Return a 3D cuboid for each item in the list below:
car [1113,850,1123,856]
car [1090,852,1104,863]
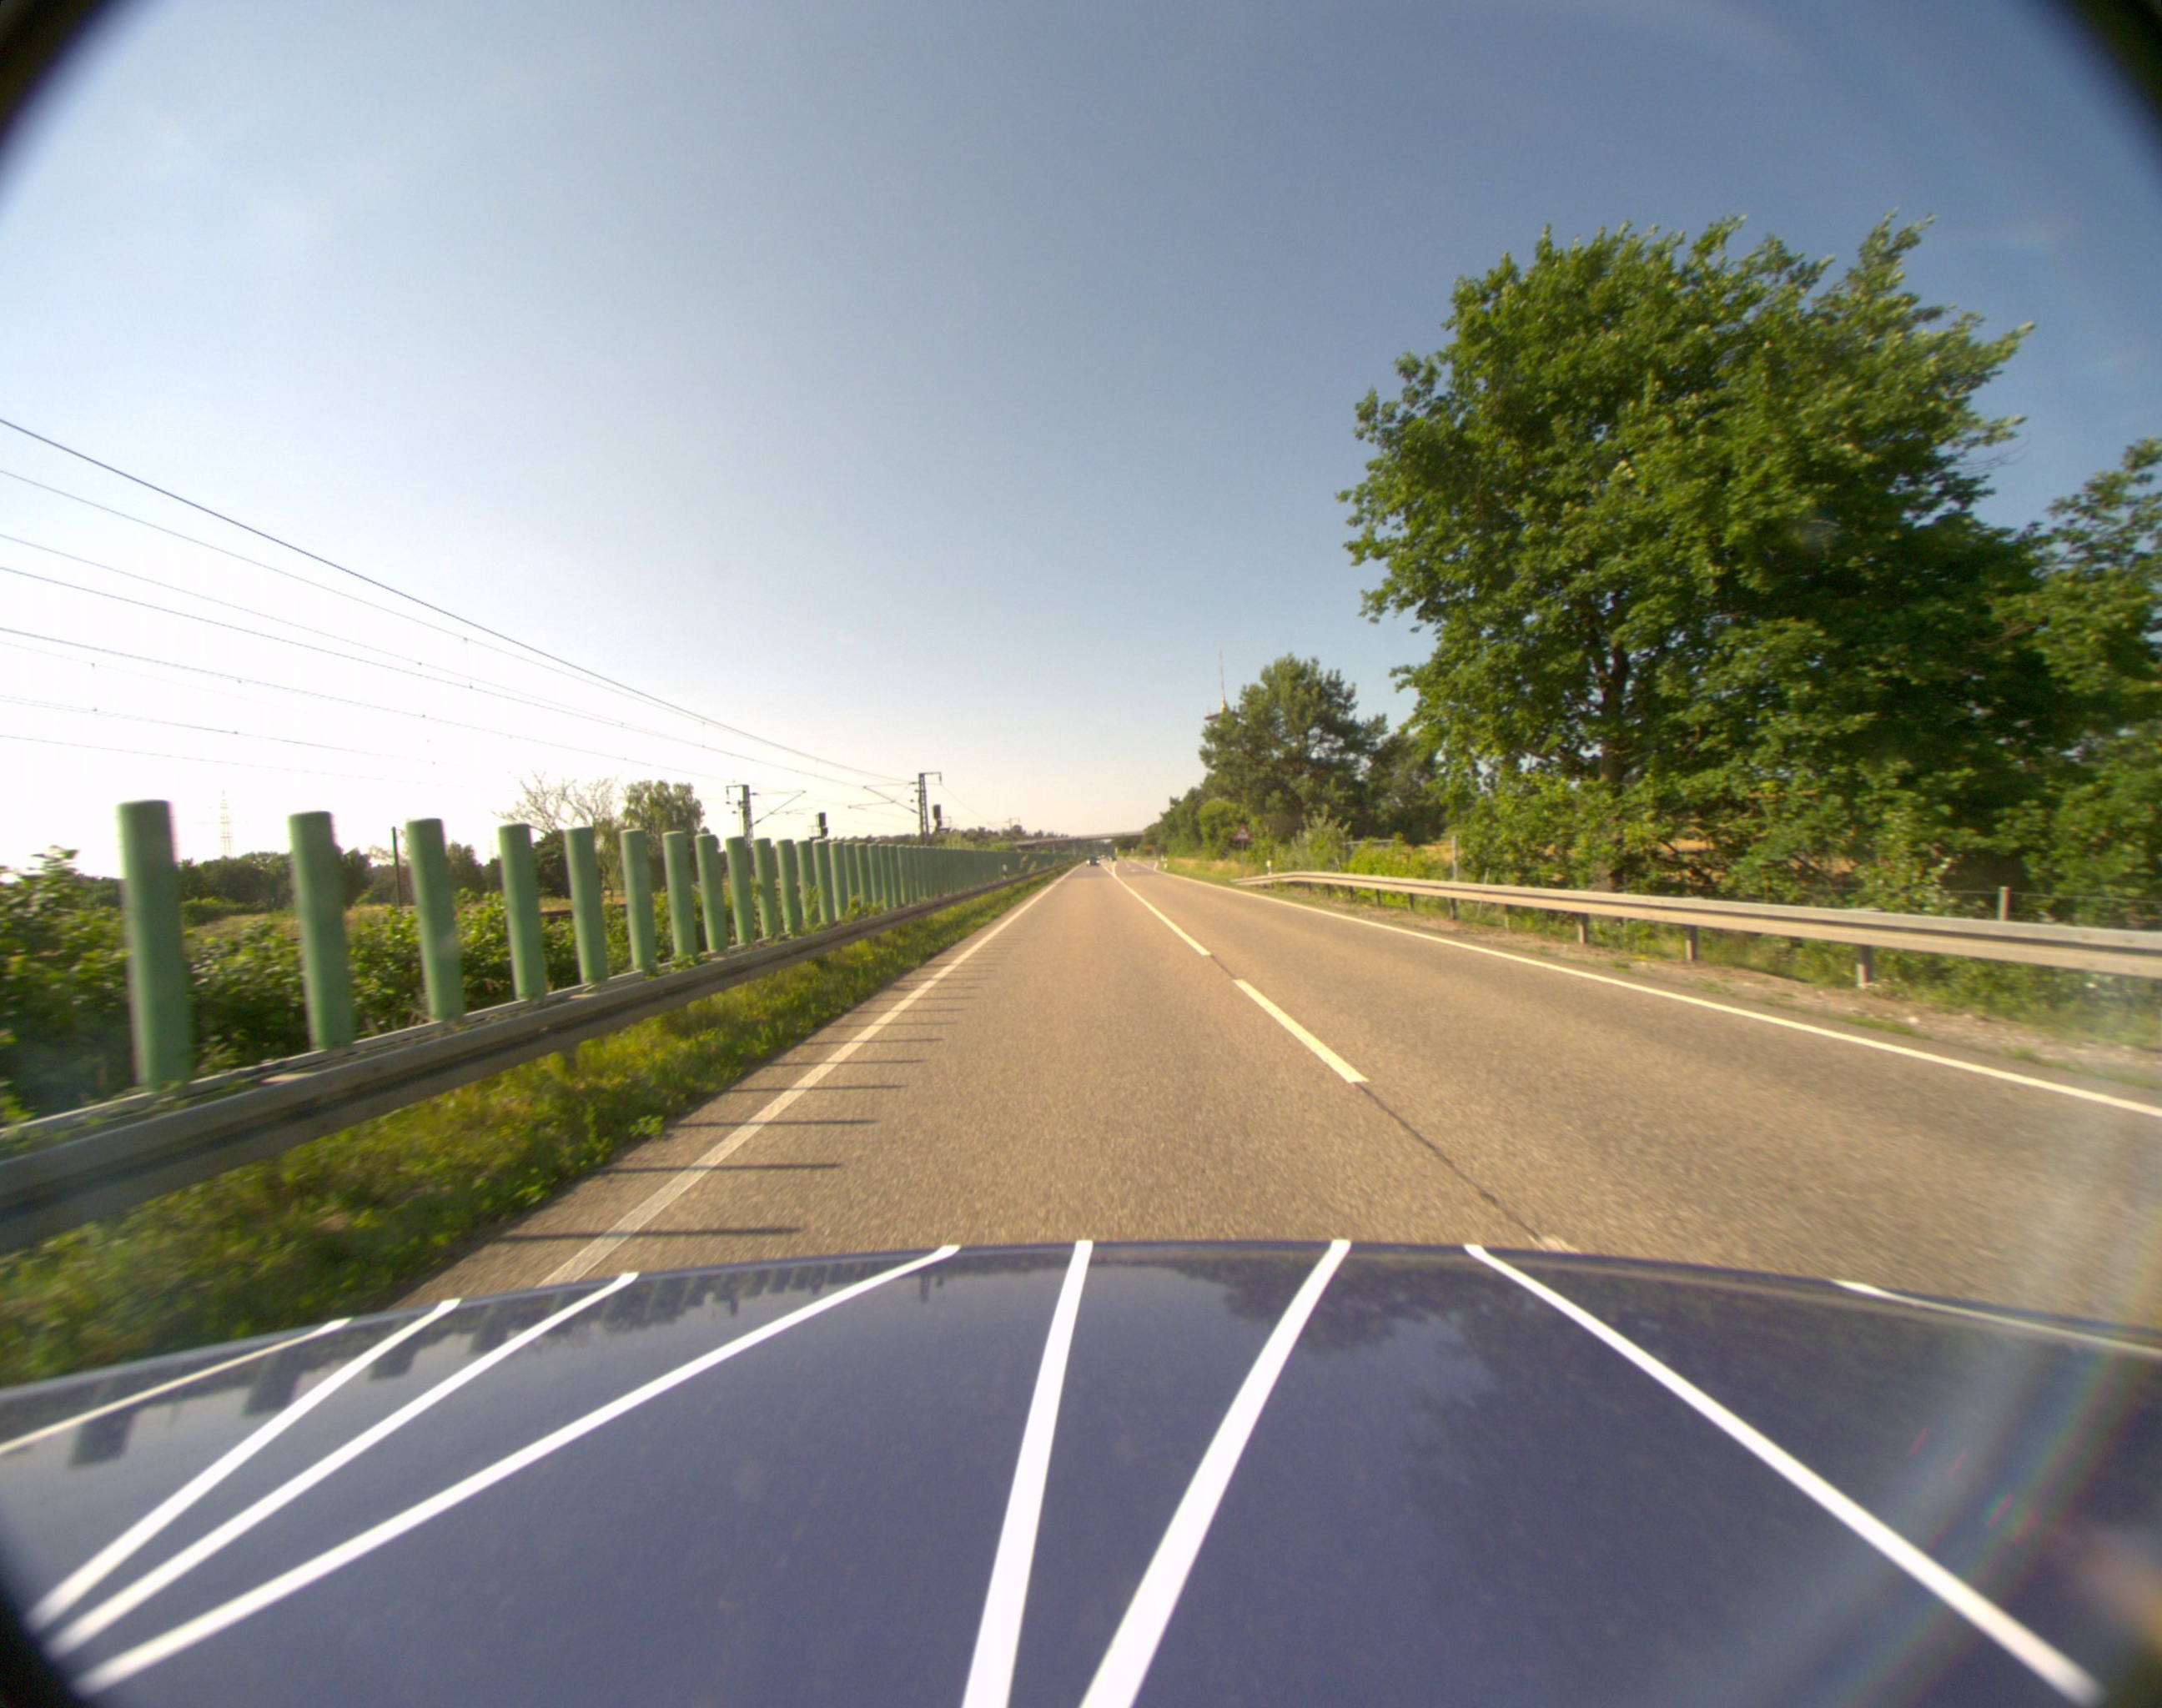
[{"bbox_3d":[9.372,-0.217,191.691,1.999,1.533,4.330,-2,0,-5],"label":"car"},{"bbox_3d":[2.277,0.461,110.084,1.868,1.533,4.076,-2,0,3],"label":"car"}]
